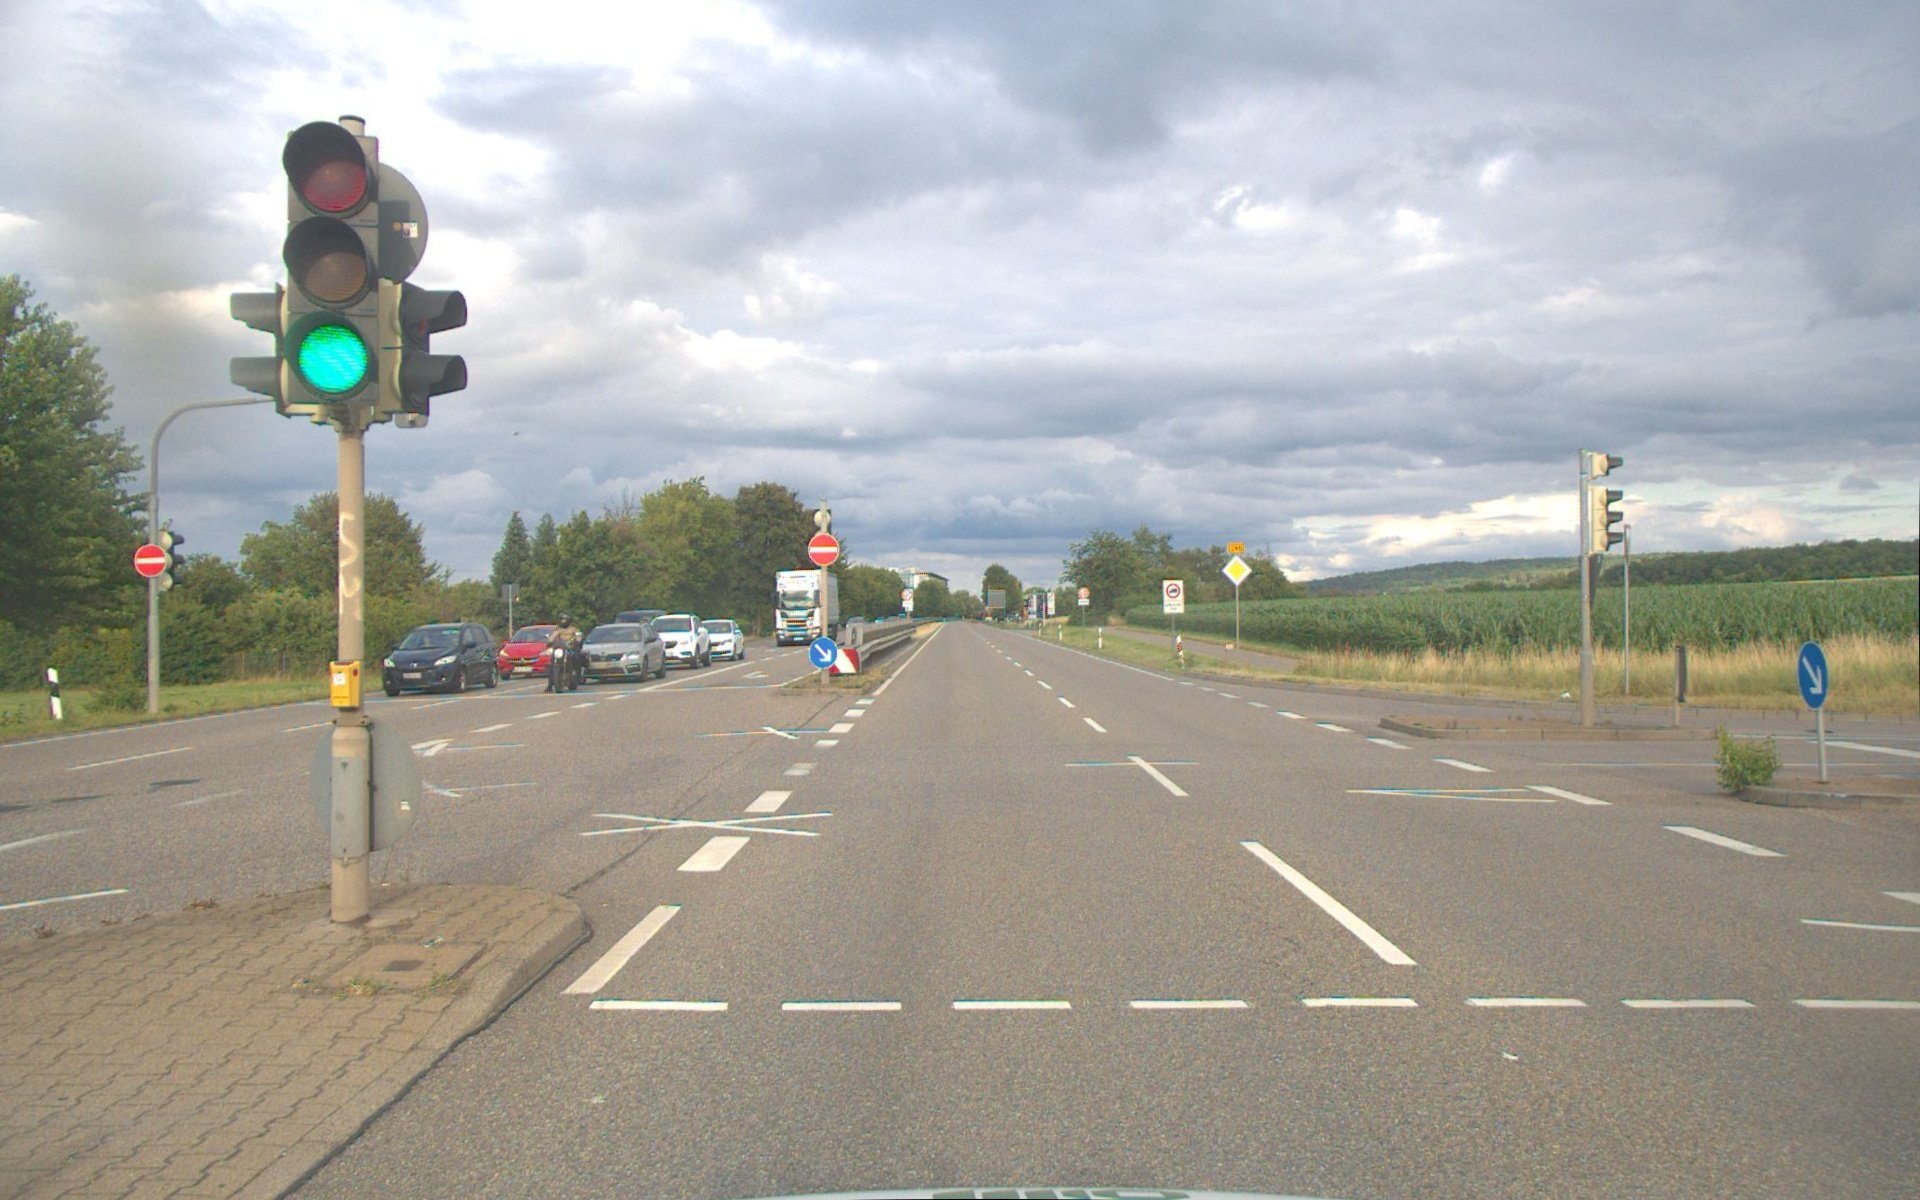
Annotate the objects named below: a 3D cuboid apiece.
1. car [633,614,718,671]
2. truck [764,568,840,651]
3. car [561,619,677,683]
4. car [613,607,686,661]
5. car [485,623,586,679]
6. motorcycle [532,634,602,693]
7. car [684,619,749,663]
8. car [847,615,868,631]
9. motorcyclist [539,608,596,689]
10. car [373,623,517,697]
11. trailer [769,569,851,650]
[{"bbox_3d":[-8.762,1.273,51.262,1.868,1.638,4.404,-1,0,-1],"label":"car"},{"bbox_3d":[-8.530,0.533,89.754,3.404,4.223,6.048,-2,-1,0],"label":"truck"},{"bbox_3d":[-8.542,1.243,41.877,1.868,1.453,5.151,-1,0,-1],"label":"car"},{"bbox_3d":[-12.515,1.382,66.988,1.953,2.049,4.946,-2,-1,0],"label":"car"},{"bbox_3d":[-12.279,1.443,48.063,1.868,1.491,4.183,-1,0,-1],"label":"car"},{"bbox_3d":[-8.607,1.372,36.322,0.897,1.224,2.478,-2,-1,0],"label":"motorcycle"},{"bbox_3d":[-8.717,1.450,59.528,1.752,1.470,4.159,-1,0,-1],"label":"car"},{"bbox_3d":[-9.614,2.153,154.917,1.752,1.410,4.159,-1,0,-1],"label":"car"},{"bbox_3d":[-8.606,1.056,36.326,0.897,1.739,1.276,-2,-1,0],"label":"motorcyclist"},{"bbox_3d":[-12.113,1.363,39.243,1.868,1.562,4.938,-1,0,-1],"label":"car"},{"bbox_3d":[-8.549,0.596,96.167,3.394,4.223,13.914,-2,-1,0],"label":"trailer"}]
